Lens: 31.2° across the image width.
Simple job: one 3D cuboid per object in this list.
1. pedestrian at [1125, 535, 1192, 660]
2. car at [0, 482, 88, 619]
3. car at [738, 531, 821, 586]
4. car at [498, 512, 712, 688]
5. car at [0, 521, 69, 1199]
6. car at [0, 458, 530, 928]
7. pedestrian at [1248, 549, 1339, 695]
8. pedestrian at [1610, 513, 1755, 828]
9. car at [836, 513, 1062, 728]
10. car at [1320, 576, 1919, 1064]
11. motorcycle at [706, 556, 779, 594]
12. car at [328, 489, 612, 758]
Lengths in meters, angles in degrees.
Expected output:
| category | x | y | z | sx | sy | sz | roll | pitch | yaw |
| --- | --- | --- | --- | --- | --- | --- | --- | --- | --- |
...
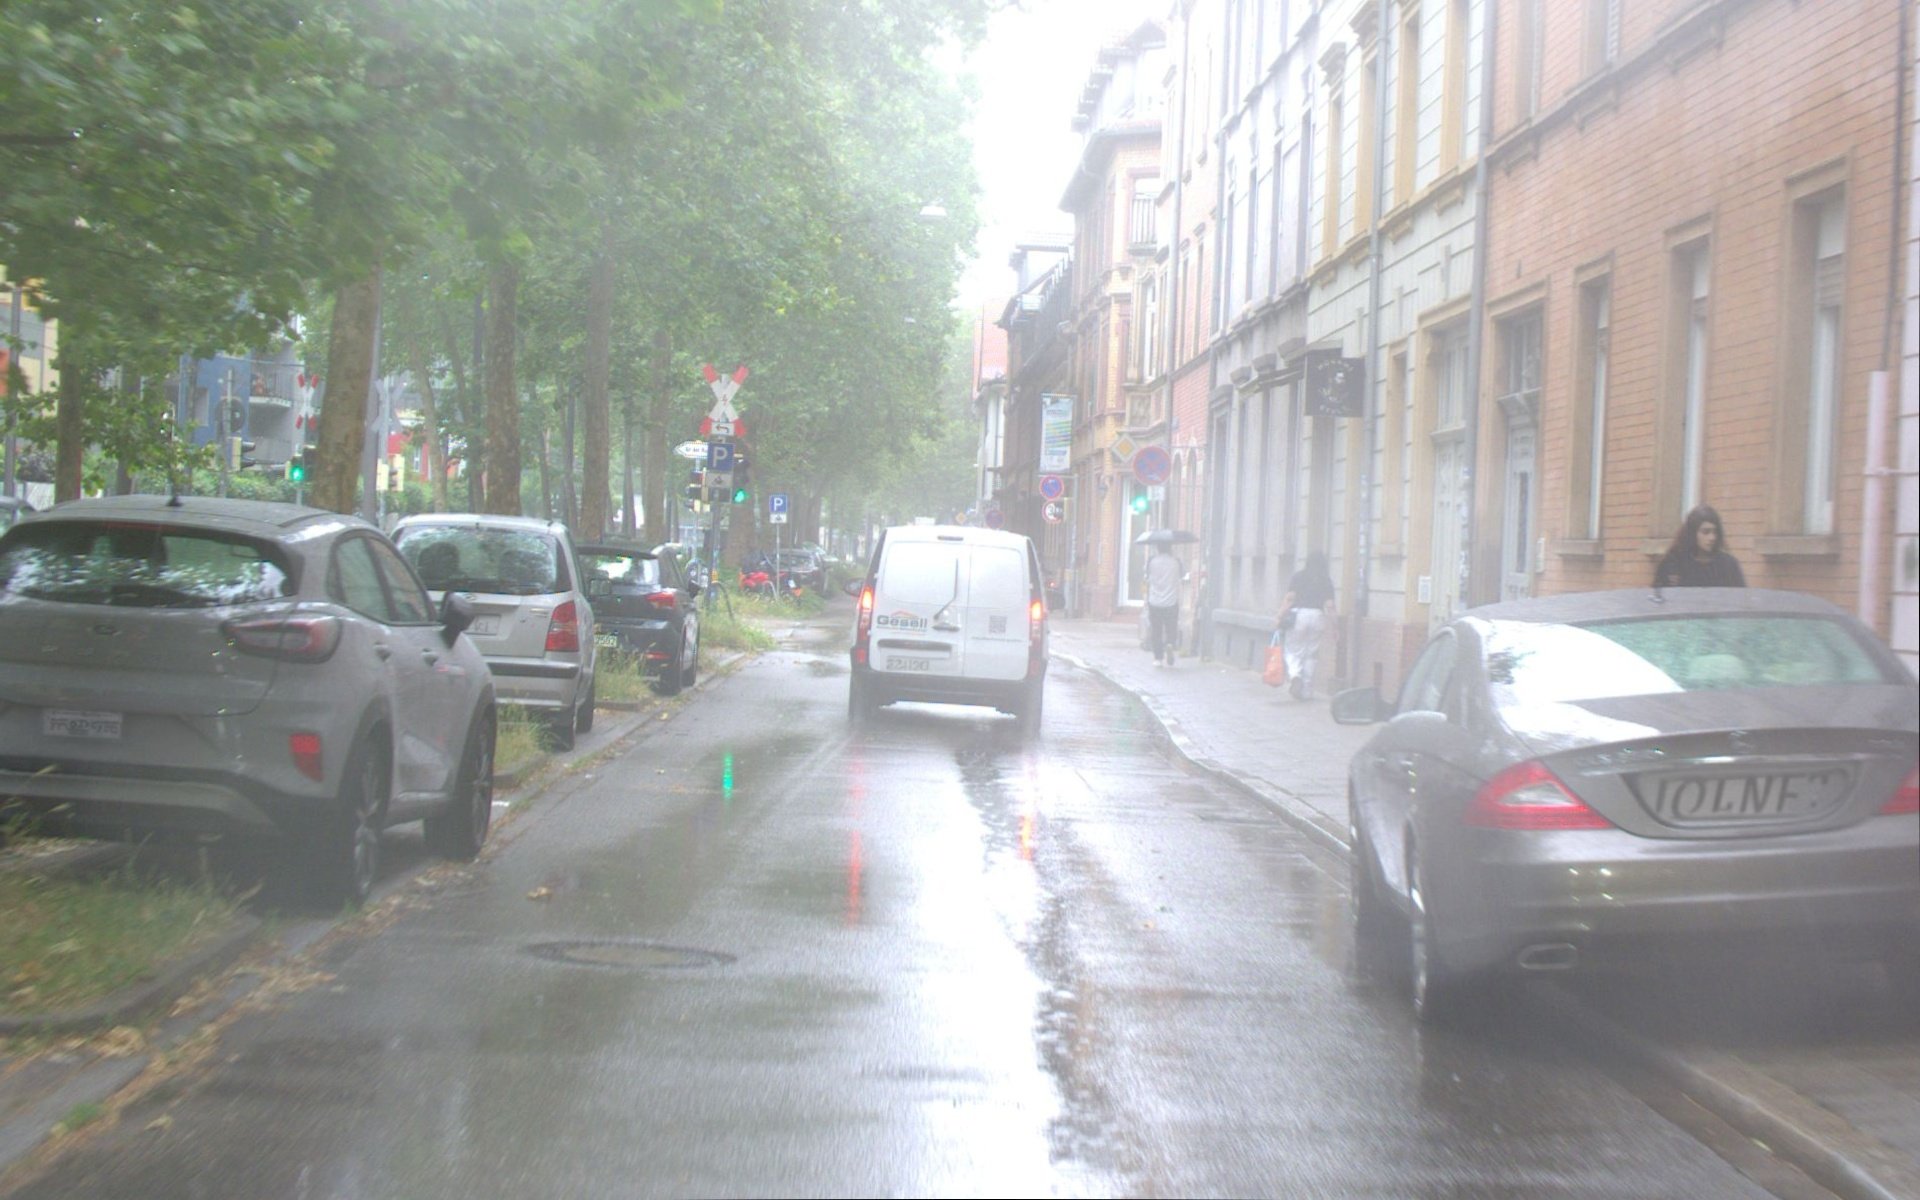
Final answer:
| category | x | y | z | sx | sy | sz | roll | pitch | yaw |
| --- | --- | --- | --- | --- | --- | --- | --- | --- | --- |
| pedestrian | 2.762 | -0.050 | 47.879 | 0.840 | 1.710 | 1.108 | -1 | 1 | -1 |
| car | -12.233 | -0.664 | 42.381 | 1.993 | 1.607 | 4.000 | 3 | 1 | -2 |
| car | -4.945 | -1.154 | 94.467 | 1.993 | 1.382 | 4.000 | 3 | 1 | 0 |
| car | -3.415 | -0.017 | 33.680 | 1.649 | 1.495 | 4.119 | 4 | 0 | -1 |
| car | -2.911 | 0.541 | 5.470 | 1.828 | 1.498 | 4.614 | 4 | 0 | -2 |
| car | -2.982 | 0.303 | 14.471 | 1.698 | 1.630 | 4.355 | 2 | 1 | 1 |
| pedestrian | 3.509 | 0.223 | 36.261 | 0.840 | 1.506 | 1.108 | 0 | 1 | -1 |
| pedestrian | 3.916 | 0.372 | 18.657 | 0.638 | 1.679 | 0.603 | 0 | 1 | -2 |
| car | -0.117 | 0.198 | 32.137 | 1.903 | 1.791 | 4.113 | 3 | -1 | -1 |
| car | 2.405 | 0.639 | 12.564 | 1.814 | 1.416 | 4.696 | -1 | 1 | 2 |
| motorcycle | -5.424 | -0.632 | 85.654 | 1.706 | 0.862 | 0.577 | 3 | 1 | 4 |
| car | -3.399 | 0.103 | 24.392 | 1.623 | 1.676 | 3.660 | 3 | 1 | -4 |
